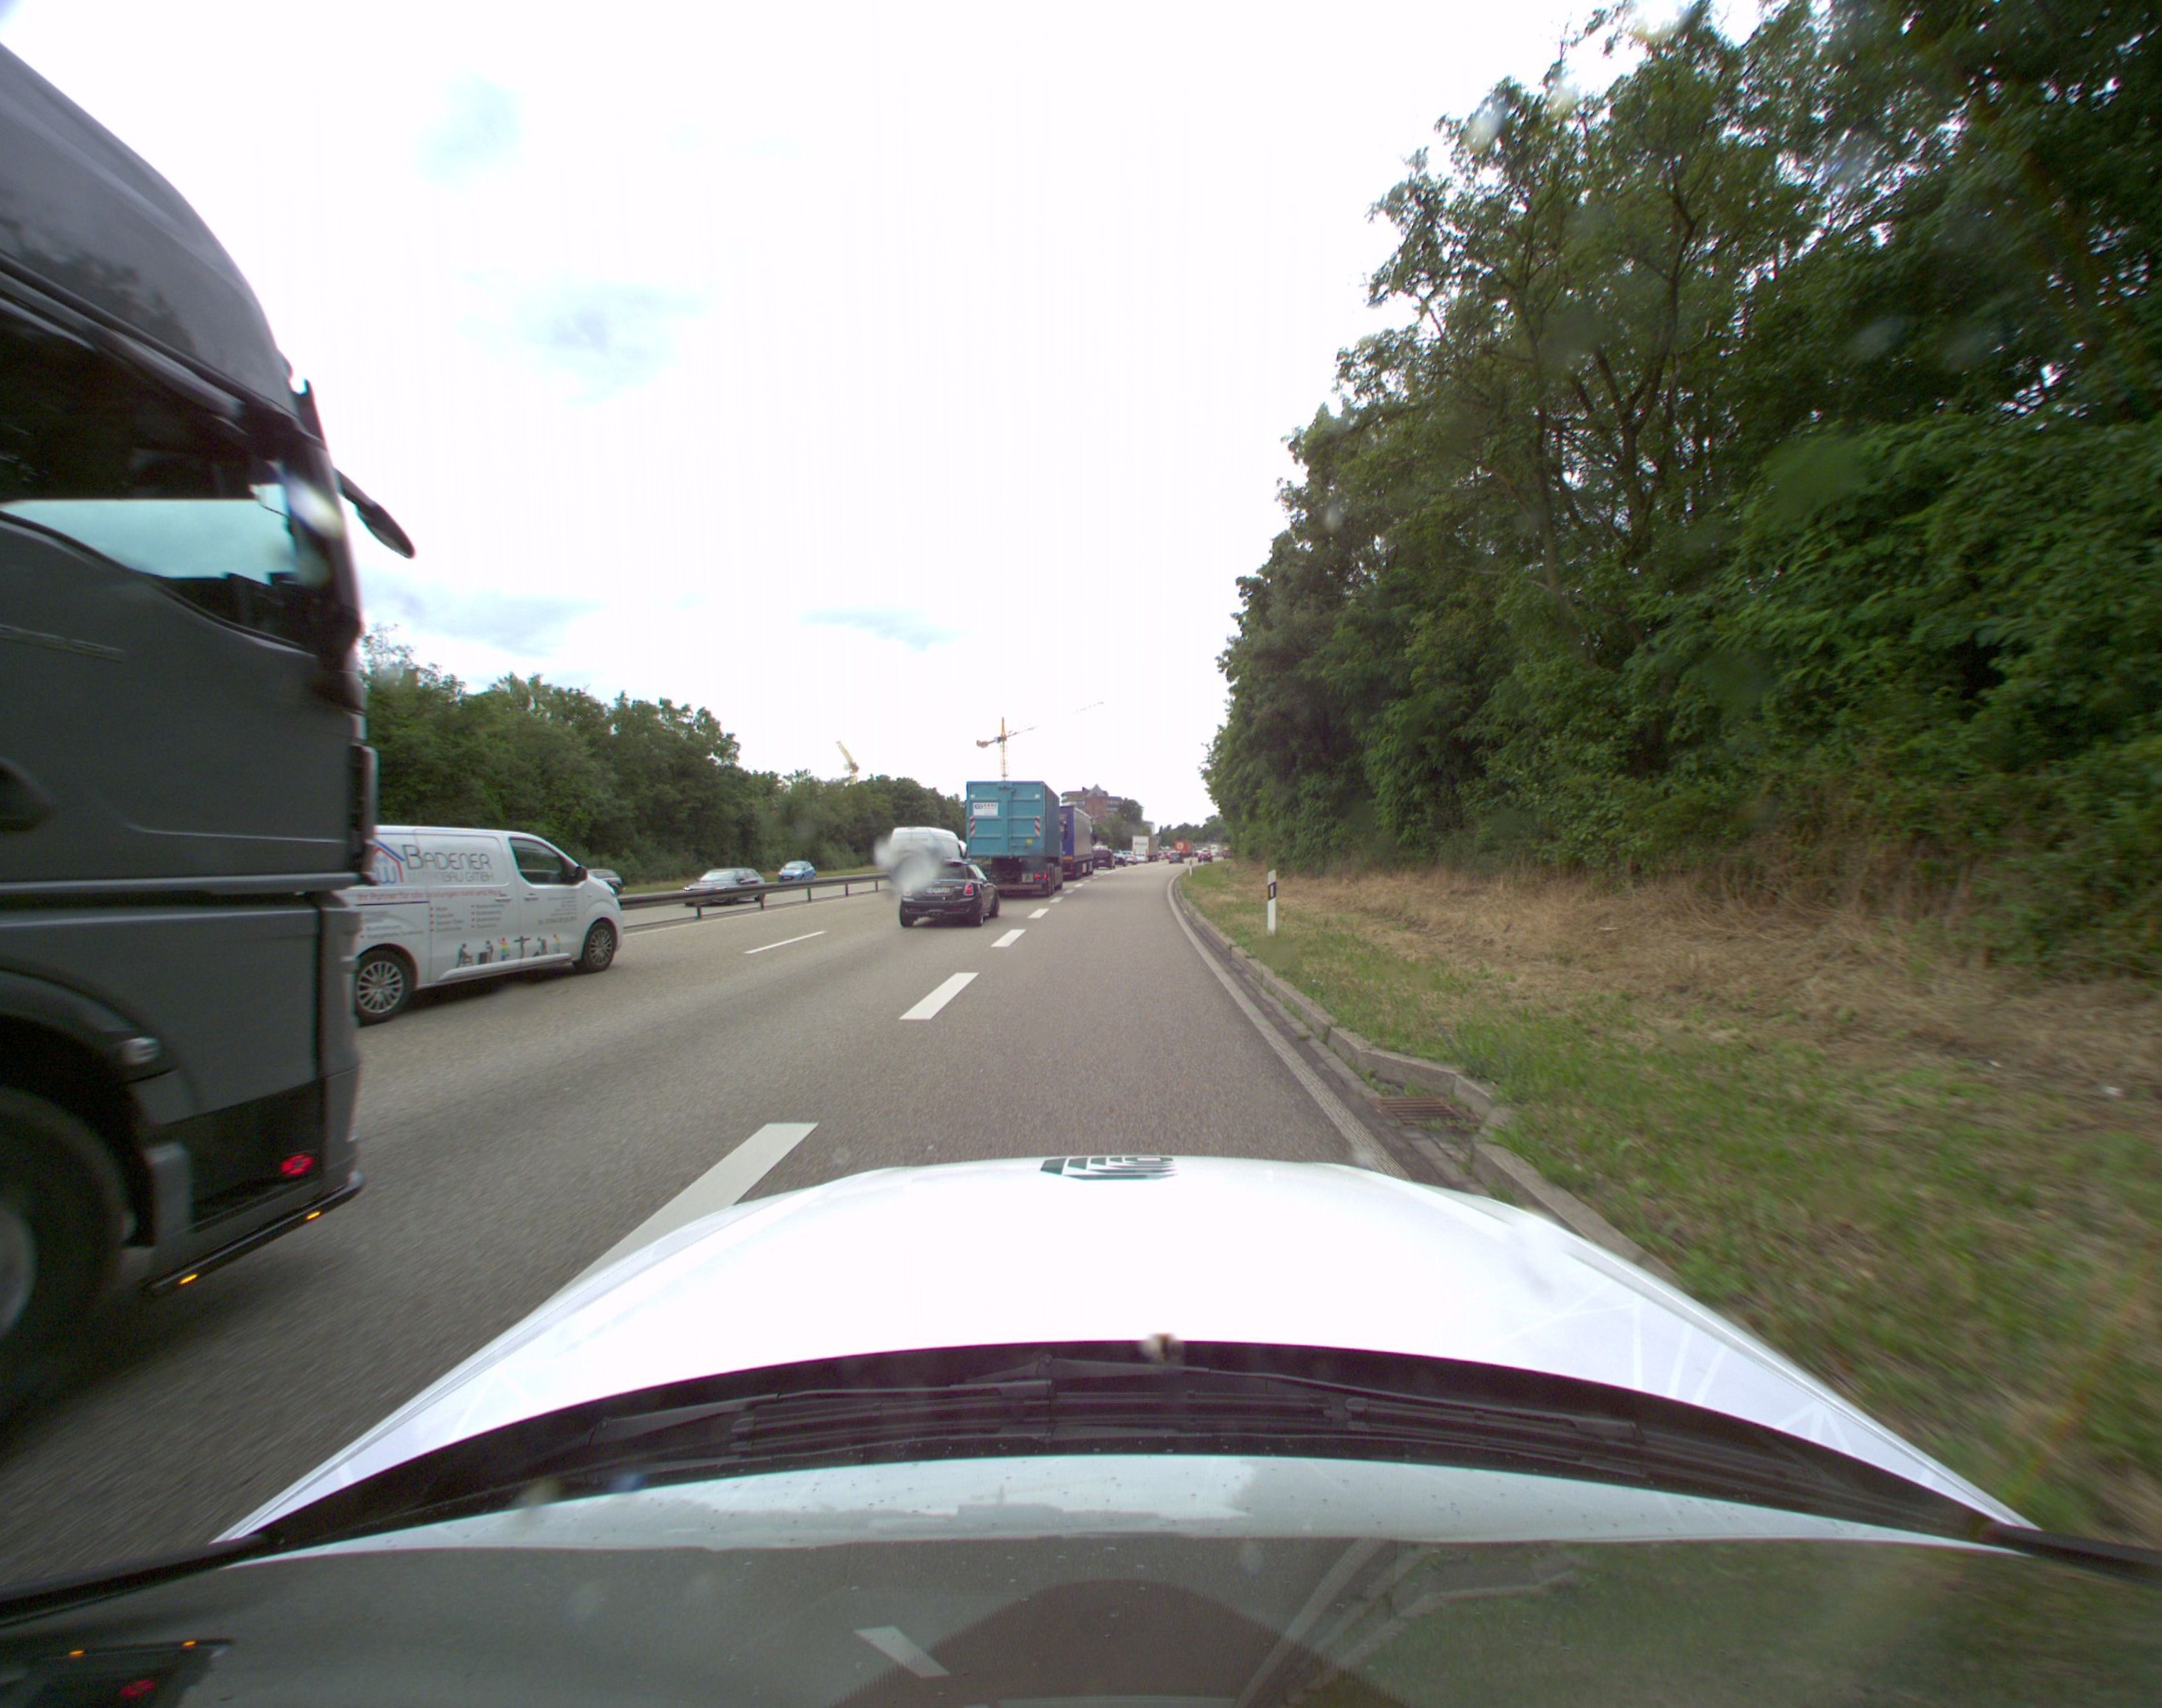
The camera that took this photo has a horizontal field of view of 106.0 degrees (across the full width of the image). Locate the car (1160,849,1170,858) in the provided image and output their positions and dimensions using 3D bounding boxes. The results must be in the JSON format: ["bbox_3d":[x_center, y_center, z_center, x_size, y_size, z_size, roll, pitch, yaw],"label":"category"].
[{"bbox_3d":[19.811,-0.138,192.020,1.806,2.013,4.012,-2,0,11],"label":"car"}]

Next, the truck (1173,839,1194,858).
[{"bbox_3d":[23.968,-1.225,190.250,3.465,4.073,13.640,-2,0,13],"label":"truck"}]

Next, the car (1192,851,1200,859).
[{"bbox_3d":[29.613,0.296,210.383,1.602,1.948,3.720,0,-1,15],"label":"car"}]

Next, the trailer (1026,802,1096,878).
[{"bbox_3d":[-0.952,-0.703,49.849,2.613,4.022,13.484,0,0,6],"label":"trailer"}]

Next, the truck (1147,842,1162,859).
[{"bbox_3d":[17.953,-0.793,197.935,2.722,4.138,10.726,0,0,10],"label":"truck"}]

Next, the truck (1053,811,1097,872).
[{"bbox_3d":[-0.325,-0.798,56.597,2.549,4.042,6.596,0,-1,4],"label":"truck"}]

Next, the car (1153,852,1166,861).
[{"bbox_3d":[14.736,0.420,152.511,1.787,1.604,4.272,0,0,13],"label":"car"}]

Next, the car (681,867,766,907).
[{"bbox_3d":[-14.092,1.282,32.336,1.698,1.393,3.515,-2,0,2],"label":"car"}]

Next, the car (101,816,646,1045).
[{"bbox_3d":[-7.275,0.647,9.313,1.844,1.891,4.879,-1,0,1],"label":"car"}]

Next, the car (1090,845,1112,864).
[{"bbox_3d":[2.844,-0.001,114.549,1.980,2.553,5.379,-2,0,11],"label":"car"}]

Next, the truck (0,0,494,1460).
[{"bbox_3d":[-4.005,-0.448,0.159,2.674,3.907,6.934,-1,0,0],"label":"truck"}]

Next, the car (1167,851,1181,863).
[{"bbox_3d":[12.509,0.412,109.651,1.816,1.482,4.007,-2,0,6],"label":"car"}]

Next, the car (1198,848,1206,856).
[{"bbox_3d":[32.892,-0.506,222.005,1.602,2.013,4.017,-2,0,15],"label":"car"}]

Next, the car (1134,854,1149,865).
[{"bbox_3d":[8.533,0.733,114.323,1.754,1.478,4.098,-2,0,8],"label":"car"}]

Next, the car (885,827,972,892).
[{"bbox_3d":[-6.483,0.249,35.571,2.213,2.578,6.802,0,0,3],"label":"car"}]

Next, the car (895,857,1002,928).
[{"bbox_3d":[-2.907,0.799,18.621,1.741,1.422,3.665,-1,0,1],"label":"car"}]

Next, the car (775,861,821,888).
[{"bbox_3d":[-19.458,1.361,56.192,1.671,1.717,3.778,-2,0,2],"label":"car"}]

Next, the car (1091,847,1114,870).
[{"bbox_3d":[2.042,0.428,77.363,1.980,1.898,4.986,-4,0,2],"label":"car"}]

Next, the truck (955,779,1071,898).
[{"bbox_3d":[-2.274,-0.508,32.034,2.917,3.796,11.339,-2,0,3],"label":"truck"}]

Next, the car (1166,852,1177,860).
[{"bbox_3d":[18.067,0.374,162.134,1.705,1.684,4.014,0,0,13],"label":"car"}]

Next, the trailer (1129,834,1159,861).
[{"bbox_3d":[9.934,-0.958,127.186,3.278,4.036,13.136,0,0,11],"label":"trailer"}]

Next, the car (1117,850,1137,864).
[{"bbox_3d":[5.879,0.342,102.837,1.944,1.695,4.879,-2,0,10],"label":"car"}]

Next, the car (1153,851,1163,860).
[{"bbox_3d":[14.307,0.244,151.424,1.521,1.552,3.428,-2,0,10],"label":"car"}]

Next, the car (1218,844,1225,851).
[{"bbox_3d":[39.664,-1.738,229.744,1.938,2.013,4.013,-1,0,11],"label":"car"}]

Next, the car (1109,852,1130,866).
[{"bbox_3d":[4.314,0.521,90.616,1.836,1.460,4.843,-2,0,9],"label":"car"}]

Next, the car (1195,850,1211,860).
[{"bbox_3d":[17.584,0.143,117.518,1.812,1.482,4.016,-2,0,14],"label":"car"}]

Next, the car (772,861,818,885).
[{"bbox_3d":[-19.445,1.237,55.464,1.585,1.501,3.707,-2,0,3],"label":"car"}]
